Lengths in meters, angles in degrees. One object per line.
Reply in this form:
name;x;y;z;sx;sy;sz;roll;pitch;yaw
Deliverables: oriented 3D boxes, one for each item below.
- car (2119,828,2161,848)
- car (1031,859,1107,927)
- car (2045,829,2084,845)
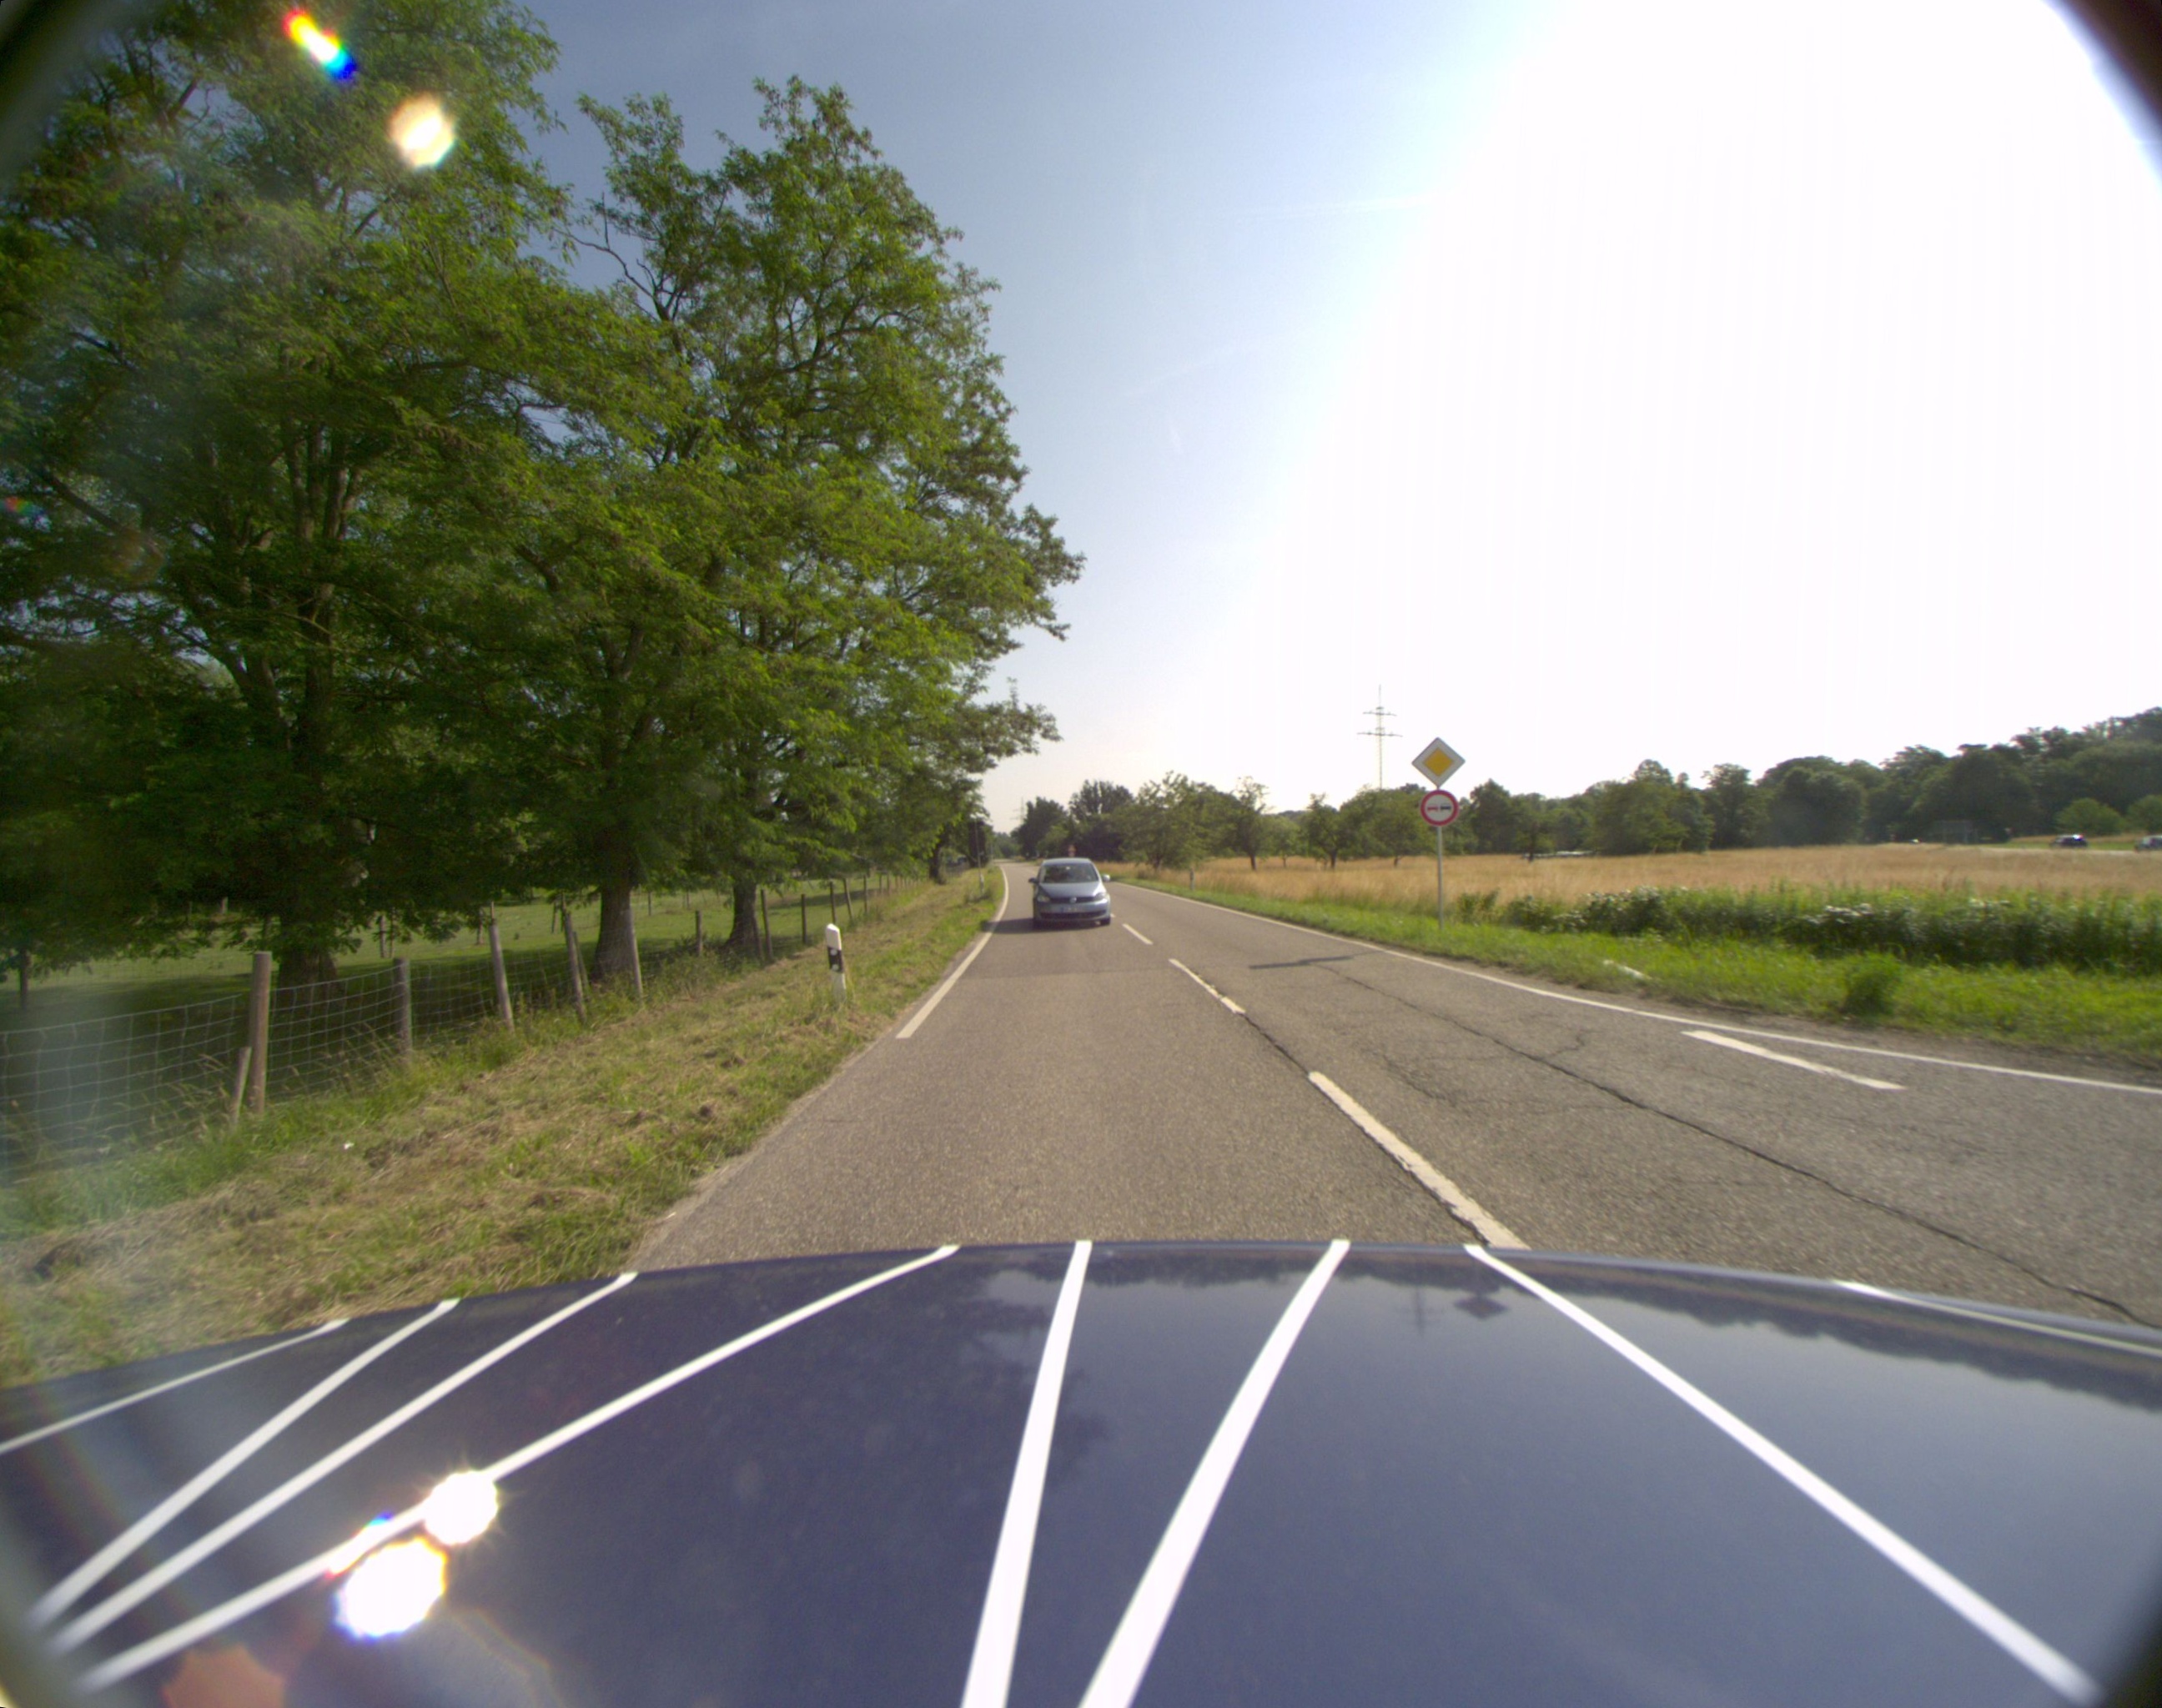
car;90.323;-1.337;64.466;1.813;1.543;4.008;-2;0;41
car;-0.326;0.940;19.917;1.718;1.495;4.093;-3;0;-2
car;106.449;-1.850;82.280;1.813;1.543;4.008;-2;0;41
